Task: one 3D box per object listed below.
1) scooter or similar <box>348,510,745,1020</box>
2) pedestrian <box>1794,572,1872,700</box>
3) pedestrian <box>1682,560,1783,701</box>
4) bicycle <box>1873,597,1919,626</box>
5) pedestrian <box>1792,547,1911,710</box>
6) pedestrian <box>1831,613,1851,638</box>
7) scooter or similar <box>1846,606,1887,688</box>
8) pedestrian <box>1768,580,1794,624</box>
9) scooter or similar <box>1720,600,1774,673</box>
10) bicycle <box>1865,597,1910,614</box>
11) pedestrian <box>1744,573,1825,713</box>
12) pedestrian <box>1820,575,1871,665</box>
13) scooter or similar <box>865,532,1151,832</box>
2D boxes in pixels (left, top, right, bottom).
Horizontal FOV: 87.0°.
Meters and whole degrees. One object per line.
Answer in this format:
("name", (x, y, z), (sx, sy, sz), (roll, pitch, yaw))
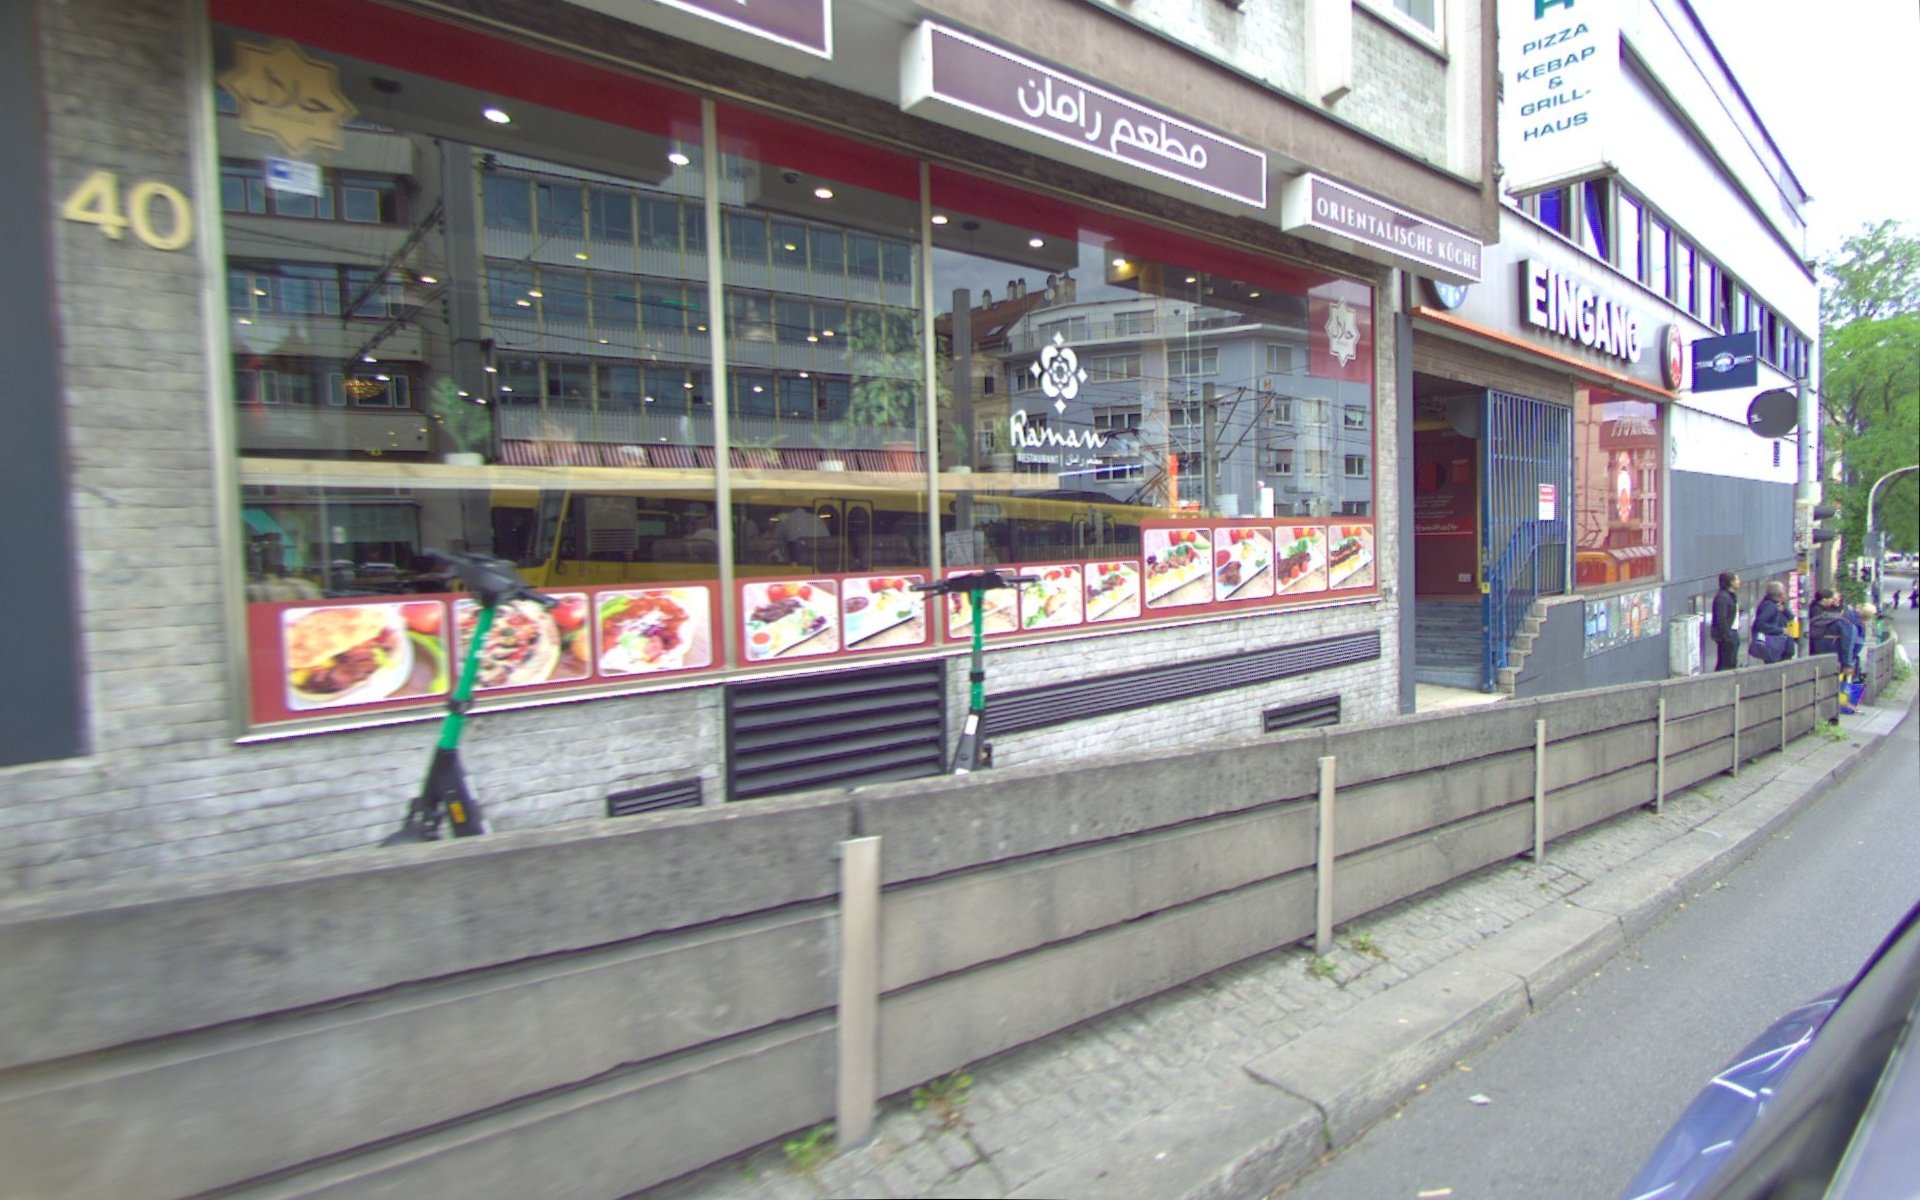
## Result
("scooter or similar", (-1.449, 0.478, 3.598), (1.157, 1.494, 0.669), (0, 0, -40))
("pedestrian", (12.978, 0.506, 15.049), (0.644, 1.815, 0.739), (0, 3, -43))
("pedestrian", (10.769, 0.410, 14.122), (0.643, 1.827, 0.729), (0, 10, -42))
("bicycle", (40.861, 0.502, 43.974), (1.737, 1.237, 0.534), (1, 1, 39))
("pedestrian", (12.352, 0.363, 14.035), (0.765, 2.086, 0.949), (0, 7, -43))
("pedestrian", (32.593, 0.938, 37.443), (0.573, 0.922, 0.484), (1, 0, -44))
("scooter or similar", (14.970, 0.761, 16.705), (0.800, 1.291, 0.354), (-1, 5, -45))
("pedestrian", (36.219, 0.086, 44.652), (0.865, 1.914, 0.706), (0, -1, -41))
("scooter or similar", (14.340, 0.651, 18.434), (0.961, 1.291, 0.429), (0, 2, -33))
("bicycle", (62.019, 0.346, 67.680), (2.081, 1.099, 0.703), (-2, -1, 36))
("pedestrian", (10.370, 0.521, 12.730), (0.581, 1.671, 0.563), (0, 6, -43))
("pedestrian", (18.229, 0.403, 20.832), (0.720, 1.808, 0.869), (-2, -1, 45))
("scooter or similar", (0.257, 0.339, 4.928), (1.309, 1.265, 0.632), (0, 0, -40))
